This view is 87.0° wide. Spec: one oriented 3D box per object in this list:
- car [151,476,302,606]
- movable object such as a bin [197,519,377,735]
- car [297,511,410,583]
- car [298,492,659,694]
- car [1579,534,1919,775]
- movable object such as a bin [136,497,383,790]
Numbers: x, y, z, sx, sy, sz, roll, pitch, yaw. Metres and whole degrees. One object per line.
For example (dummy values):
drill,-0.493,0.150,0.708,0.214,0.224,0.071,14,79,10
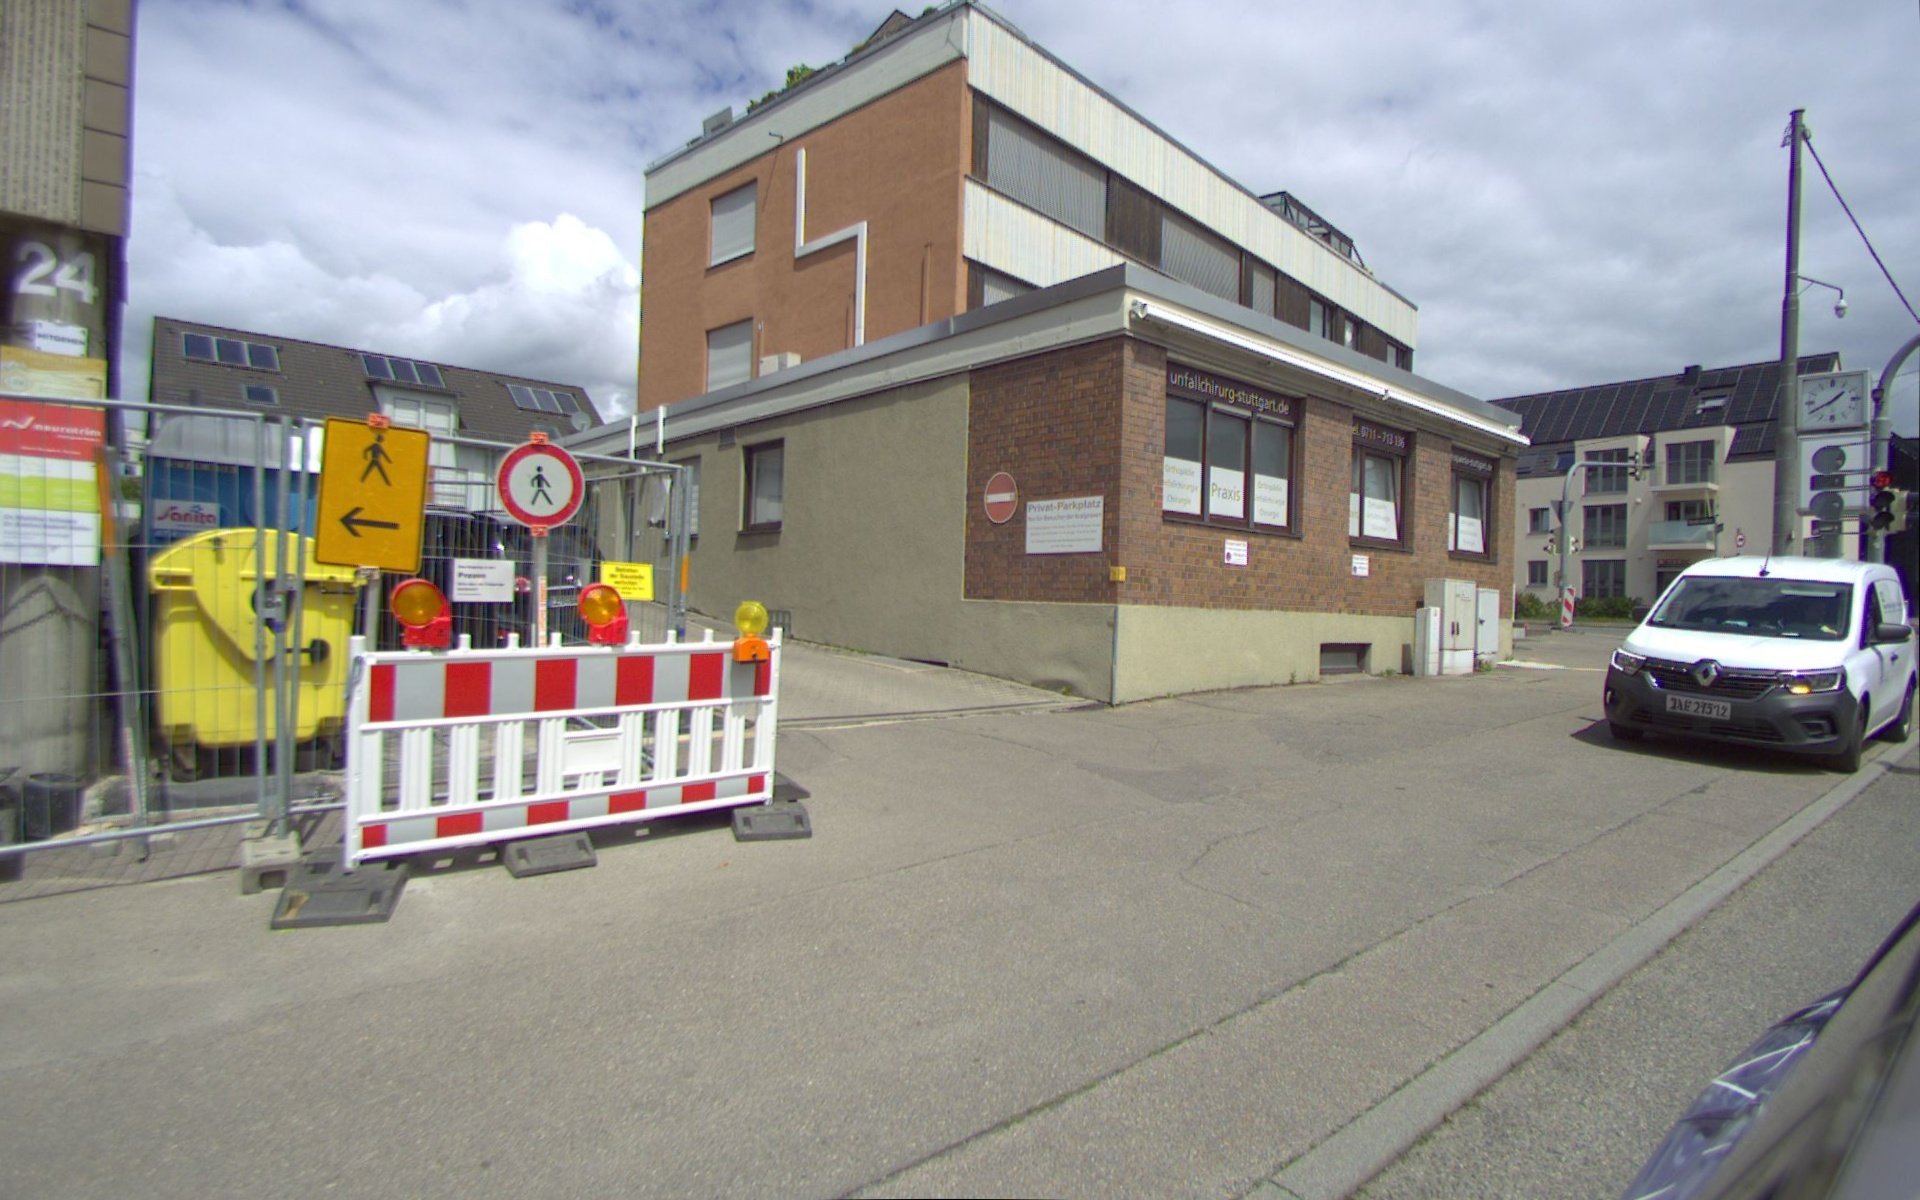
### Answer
car,-13.577,-1.008,18.644,2.027,2.071,4.750,0,2,-38
movable object such as a bin,-4.951,0.186,7.445,0.999,1.458,0.782,3,-1,-38
car,-18.905,-1.600,31.487,4.189,2.071,1.916,2,2,43
car,-5.365,-0.194,11.177,3.750,1.799,1.897,5,4,32
car,7.907,0.346,9.821,4.412,1.816,1.915,-1,3,-41
movable object such as a bin,-4.249,0.224,6.139,1.056,1.511,1.486,3,-1,-37
